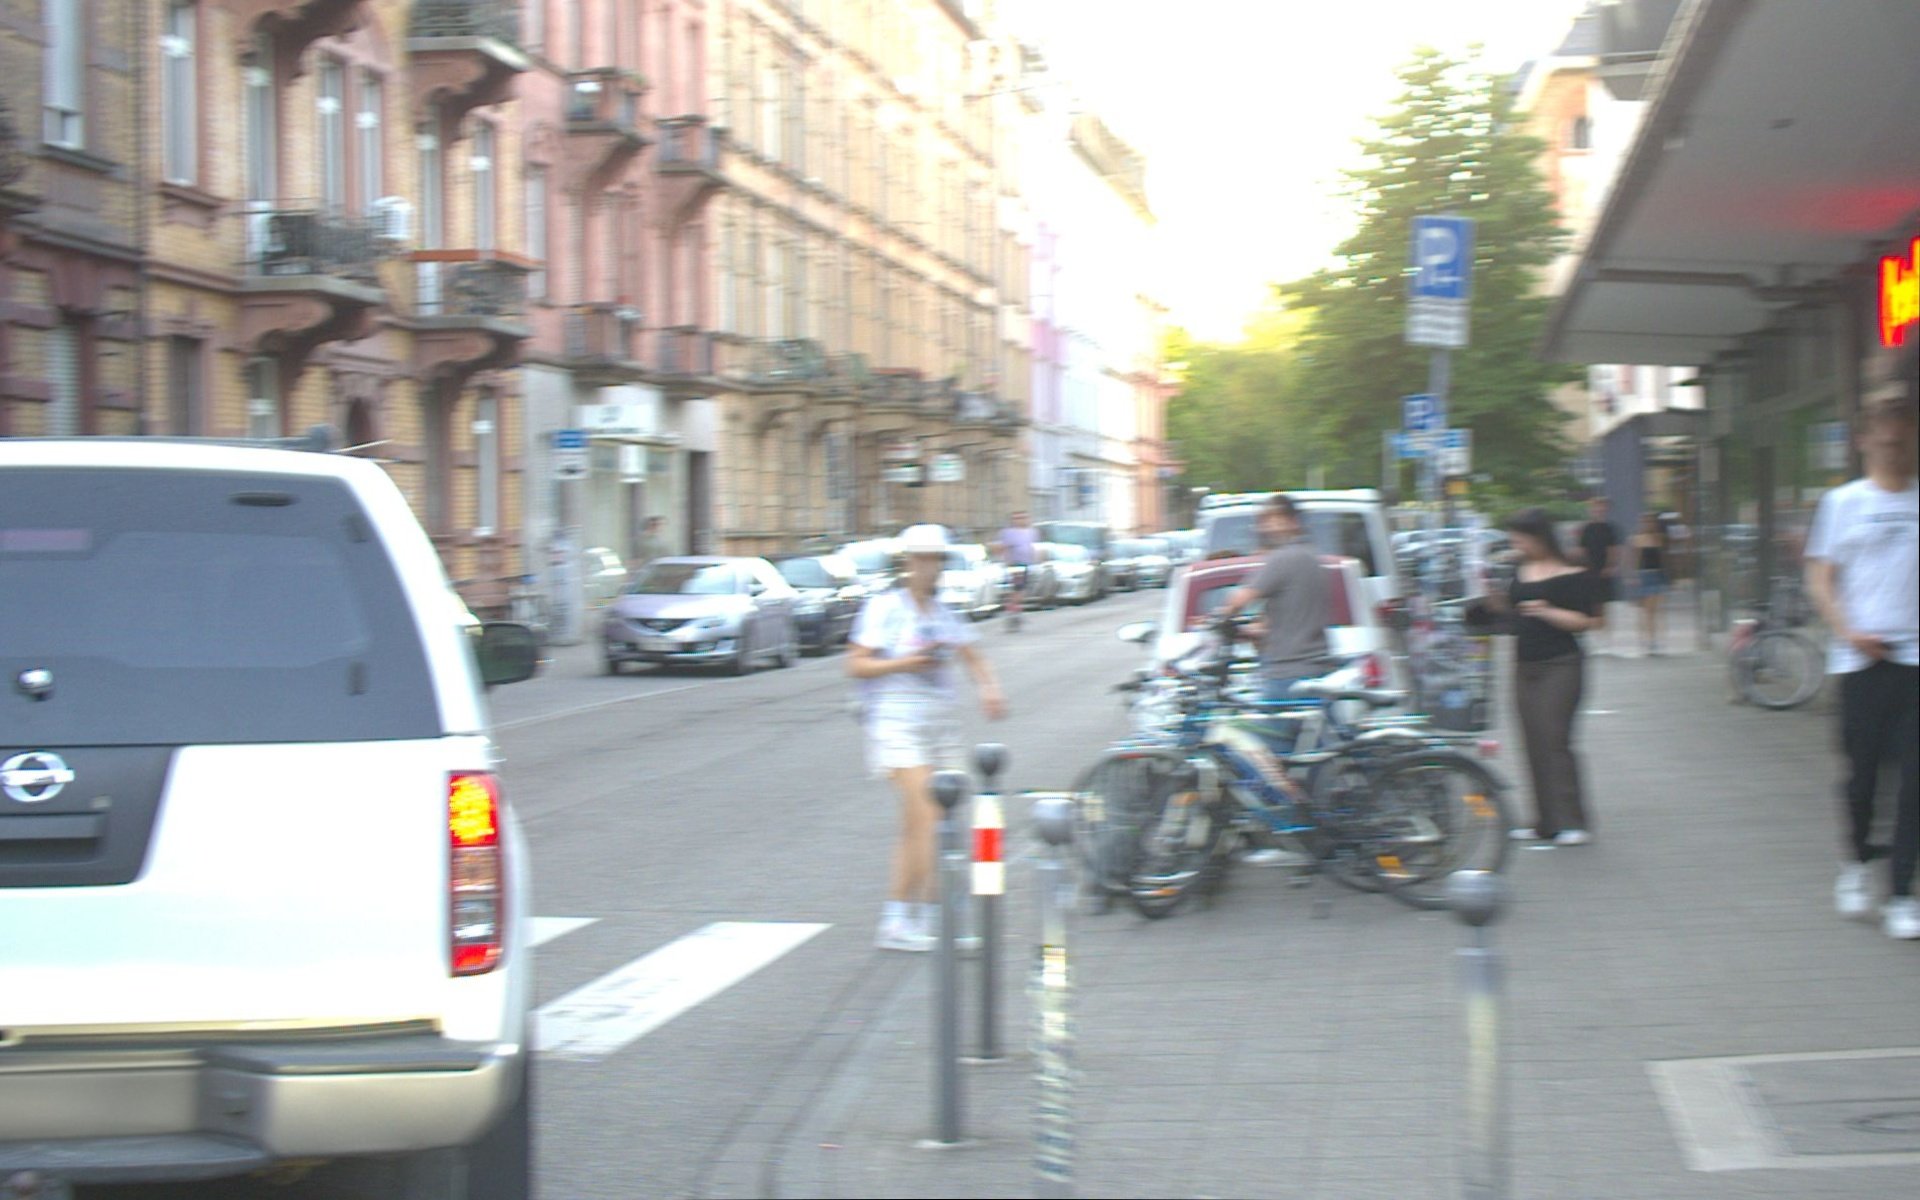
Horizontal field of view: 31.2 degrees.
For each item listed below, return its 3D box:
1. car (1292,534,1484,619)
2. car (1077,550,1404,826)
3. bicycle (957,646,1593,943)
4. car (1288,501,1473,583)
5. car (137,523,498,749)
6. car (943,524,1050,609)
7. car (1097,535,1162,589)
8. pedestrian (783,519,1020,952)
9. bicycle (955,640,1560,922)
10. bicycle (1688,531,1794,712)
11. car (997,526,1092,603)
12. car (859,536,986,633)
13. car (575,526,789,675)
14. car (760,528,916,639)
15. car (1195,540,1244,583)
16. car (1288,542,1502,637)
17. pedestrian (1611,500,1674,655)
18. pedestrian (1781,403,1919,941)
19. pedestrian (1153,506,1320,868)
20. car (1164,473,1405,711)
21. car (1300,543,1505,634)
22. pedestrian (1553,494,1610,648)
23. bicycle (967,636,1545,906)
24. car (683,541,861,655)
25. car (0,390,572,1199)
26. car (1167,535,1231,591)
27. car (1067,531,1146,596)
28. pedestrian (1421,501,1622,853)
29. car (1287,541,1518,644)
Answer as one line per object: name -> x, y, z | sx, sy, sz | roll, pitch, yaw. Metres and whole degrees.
car -> 9.127, -0.511, 73.324 | 3.988, 1.744, 1.840 | 1, 1, 7
car -> 1.840, 0.472, 21.536 | 1.835, 1.536, 3.999 | 1, 1, 7
bicycle -> 1.262, 0.779, 13.957 | 2.461, 1.035, 0.617 | -3, 0, 4
car -> 9.326, -1.289, 76.311 | 3.988, 1.744, 1.840 | 1, 1, 7
car -> -5.309, 0.251, 28.932 | 1.835, 1.744, 3.999 | 1, 1, 7
car -> 0.813, -0.720, 73.846 | 1.835, 1.744, 3.999 | 1, 1, 7
car -> 5.678, -1.269, 114.749 | 1.835, 1.744, 3.999 | 1, 1, 7
pedestrian -> -0.214, 0.503, 13.401 | 0.798, 1.615, 0.944 | 1, 1, 6
bicycle -> 1.253, 0.761, 14.645 | 2.461, 1.035, 0.617 | -3, 0, 3
bicycle -> 6.302, 0.155, 27.803 | 0.556, 1.403, 2.095 | 1, 1, 6
car -> 2.039, -0.846, 81.558 | 1.835, 1.744, 3.999 | 1, 1, 7
car -> -0.677, -0.314, 64.496 | 1.835, 1.744, 3.999 | 1, 1, 7
car -> -3.405, -0.024, 42.852 | 1.835, 1.744, 4.161 | 1, 1, 7
car -> -1.884, -0.275, 54.384 | 1.835, 1.672, 4.036 | 1, 1, 7
car -> 10.827, -1.606, 143.292 | 1.835, 1.744, 3.999 | 1, 1, 7
car -> 8.340, -0.215, 66.009 | 3.988, 1.744, 1.840 | 1, 1, 7
pedestrian -> 8.029, -0.272, 40.450 | 0.636, 1.805, 0.484 | 1, 1, 21
pedestrian -> 3.409, 0.252, 12.528 | 0.720, 1.900, 0.702 | 1, 1, 8
pedestrian -> 1.313, 0.395, 16.236 | 0.720, 1.657, 0.702 | 1, 1, 8
car -> 2.911, -0.094, 30.243 | 1.943, 1.927, 3.999 | 1, 1, 7
car -> 8.864, -0.249, 68.930 | 3.988, 1.744, 1.840 | 1, 1, 7
pedestrian -> 7.398, -0.344, 40.919 | 0.626, 1.805, 0.789 | 1, 1, 11
bicycle -> 1.305, 0.752, 15.314 | 2.461, 1.035, 0.617 | -3, 0, 3
car -> -2.651, -0.050, 49.399 | 1.835, 1.541, 4.036 | 1, 1, 7
car -> -2.108, 0.527, 8.512 | 1.937, 1.804, 5.002 | -1, 0, -10
car -> 7.725, -1.188, 110.883 | 1.835, 1.744, 3.999 | 1, 1, 7
car -> 4.100, -1.019, 95.675 | 1.835, 1.744, 3.999 | 1, 1, 7
pedestrian -> 2.728, 0.355, 16.694 | 0.721, 1.657, 0.701 | 1, 1, 33
car -> 7.862, -0.152, 61.181 | 3.988, 1.744, 1.840 | 1, 1, 7
